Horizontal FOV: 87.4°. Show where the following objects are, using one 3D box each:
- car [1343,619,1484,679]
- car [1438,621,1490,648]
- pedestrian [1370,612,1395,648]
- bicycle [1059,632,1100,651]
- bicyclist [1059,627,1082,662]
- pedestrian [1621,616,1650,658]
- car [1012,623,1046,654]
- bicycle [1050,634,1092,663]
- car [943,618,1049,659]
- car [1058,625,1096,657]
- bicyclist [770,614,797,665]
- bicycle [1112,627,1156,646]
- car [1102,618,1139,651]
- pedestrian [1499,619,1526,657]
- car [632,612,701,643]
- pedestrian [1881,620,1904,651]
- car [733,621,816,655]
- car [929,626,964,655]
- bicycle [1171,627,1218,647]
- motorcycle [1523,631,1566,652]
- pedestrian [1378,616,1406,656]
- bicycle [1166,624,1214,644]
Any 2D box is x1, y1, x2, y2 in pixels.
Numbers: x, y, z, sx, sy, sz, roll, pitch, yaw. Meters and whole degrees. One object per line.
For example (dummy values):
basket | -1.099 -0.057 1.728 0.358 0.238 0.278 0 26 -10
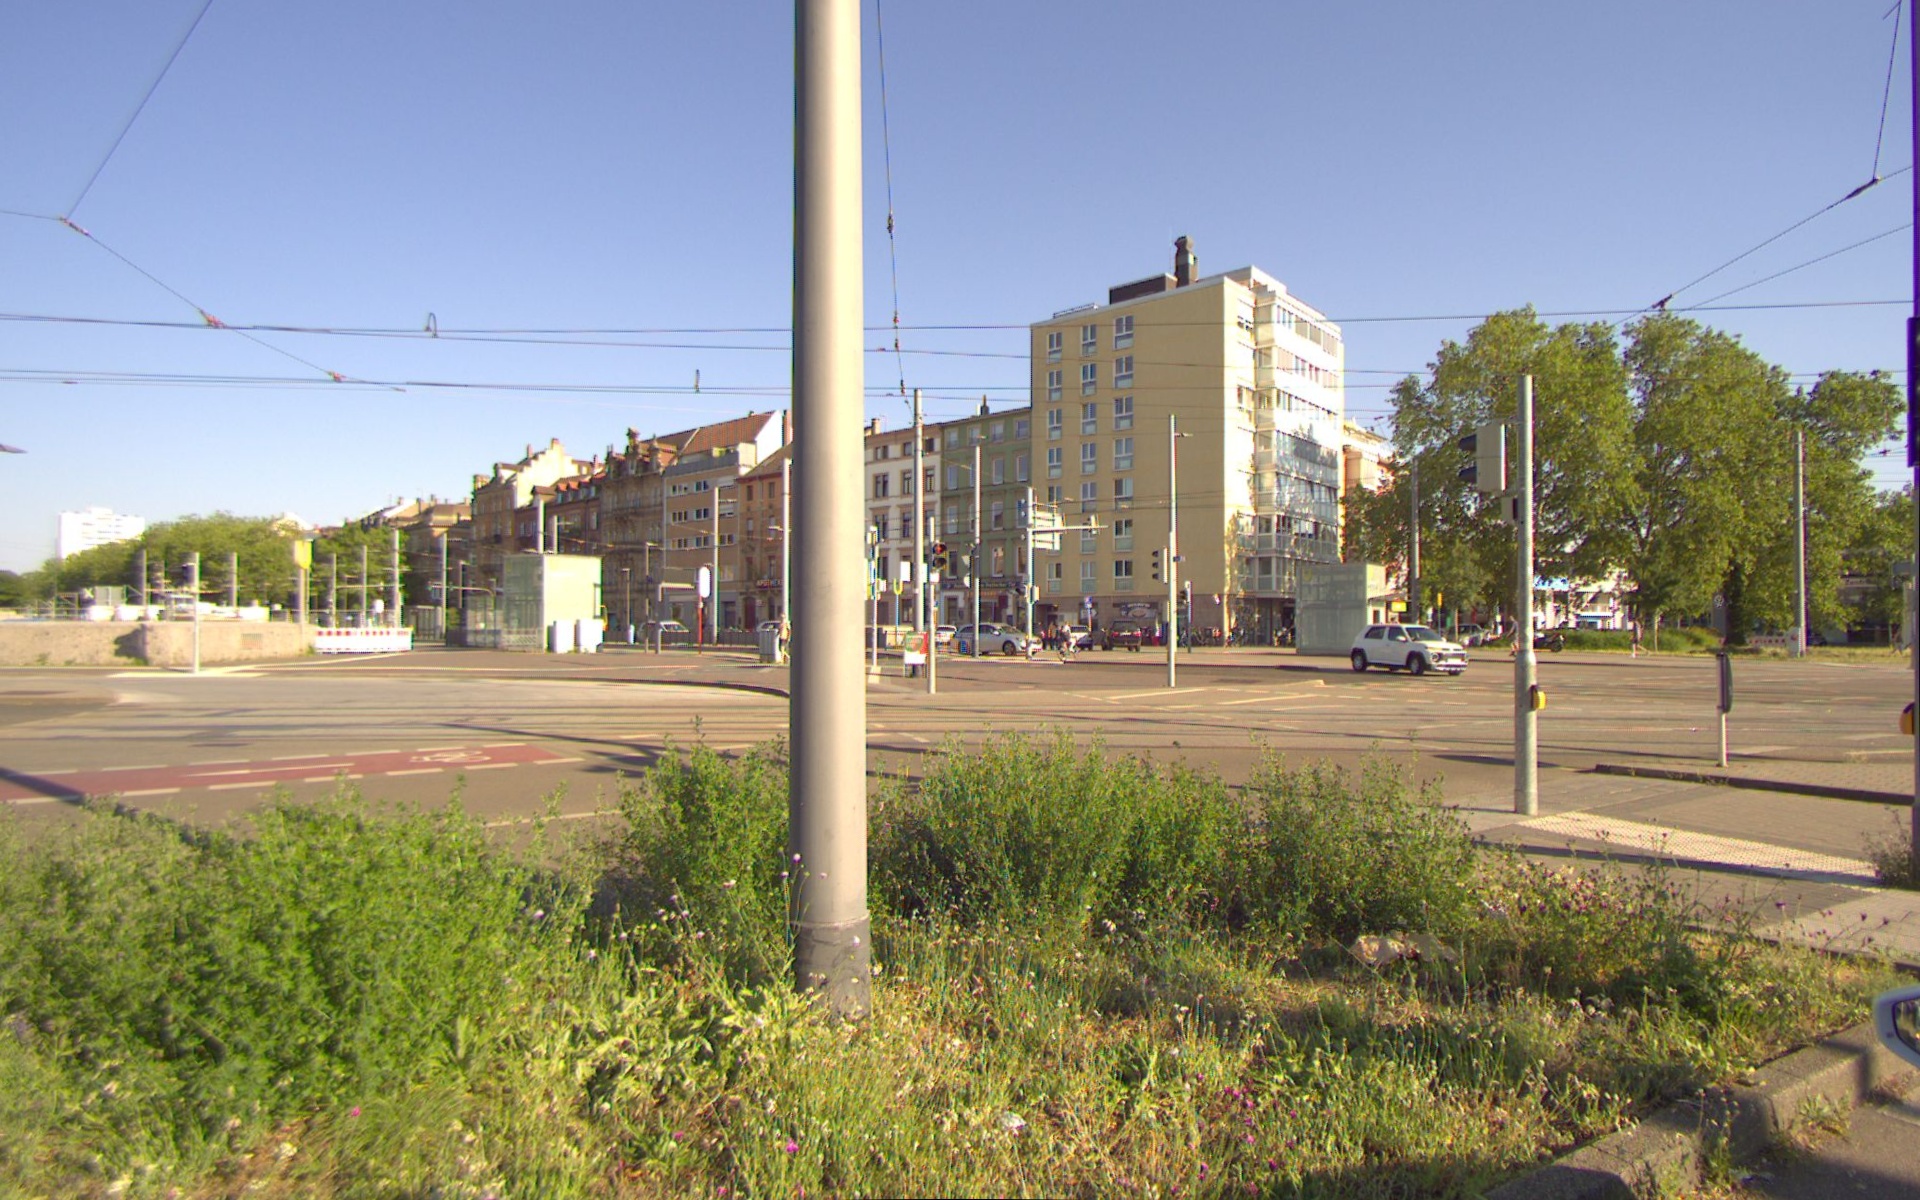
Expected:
car | 14.261 1.514 31.845 1.760 1.684 3.980 2 0 -21
car | 32.027 2.204 63.820 3.973 1.588 1.753 2 0 -44
pedestrian | 20.726 1.453 49.254 0.747 1.728 0.793 2 0 -22
bicycle | 8.207 2.813 68.972 3.003 1.167 0.637 1 0 44
bicyclist | 4.465 1.797 40.702 0.617 1.368 0.658 2 0 44
pedestrian | 31.314 1.705 46.542 0.747 1.911 0.793 2 0 -22
car | 4.209 2.313 61.543 1.960 1.728 4.001 2 0 4
bicycle | 4.516 1.954 40.789 0.617 1.104 1.914 2 0 44
car | 1.622 1.753 46.445 4.641 1.684 1.781 2 0 34
car | 6.859 2.391 59.295 1.960 1.728 4.001 2 0 4
bicyclist | -6.095 1.356 34.731 0.653 1.706 0.980 2 0 2
bicycle | 11.464 2.392 66.135 3.003 1.167 0.637 1 0 44
car | 9.131 1.926 57.398 1.684 1.728 4.001 2 0 4
pedestrian | 26.064 1.789 47.367 0.747 1.728 0.793 2 0 -22
car | -19.012 1.754 64.941 4.837 1.849 1.990 2 0 41
pedestrian | 54.375 2.067 58.553 0.491 1.716 0.852 2 0 -32
car | -10.611 2.179 57.348 4.837 1.848 1.991 -1 -3 40
car | -0.834 2.652 66.326 1.960 1.728 4.001 2 0 4
bicycle | 14.857 2.328 63.807 3.003 1.167 0.637 1 0 44
motorcycle | 29.161 2.058 50.119 1.753 0.926 0.676 2 0 41
pedestrian | 19.343 1.598 44.969 0.747 1.728 0.793 2 0 -22
bicycle | 14.444 2.137 63.240 3.003 1.167 0.637 1 0 44
